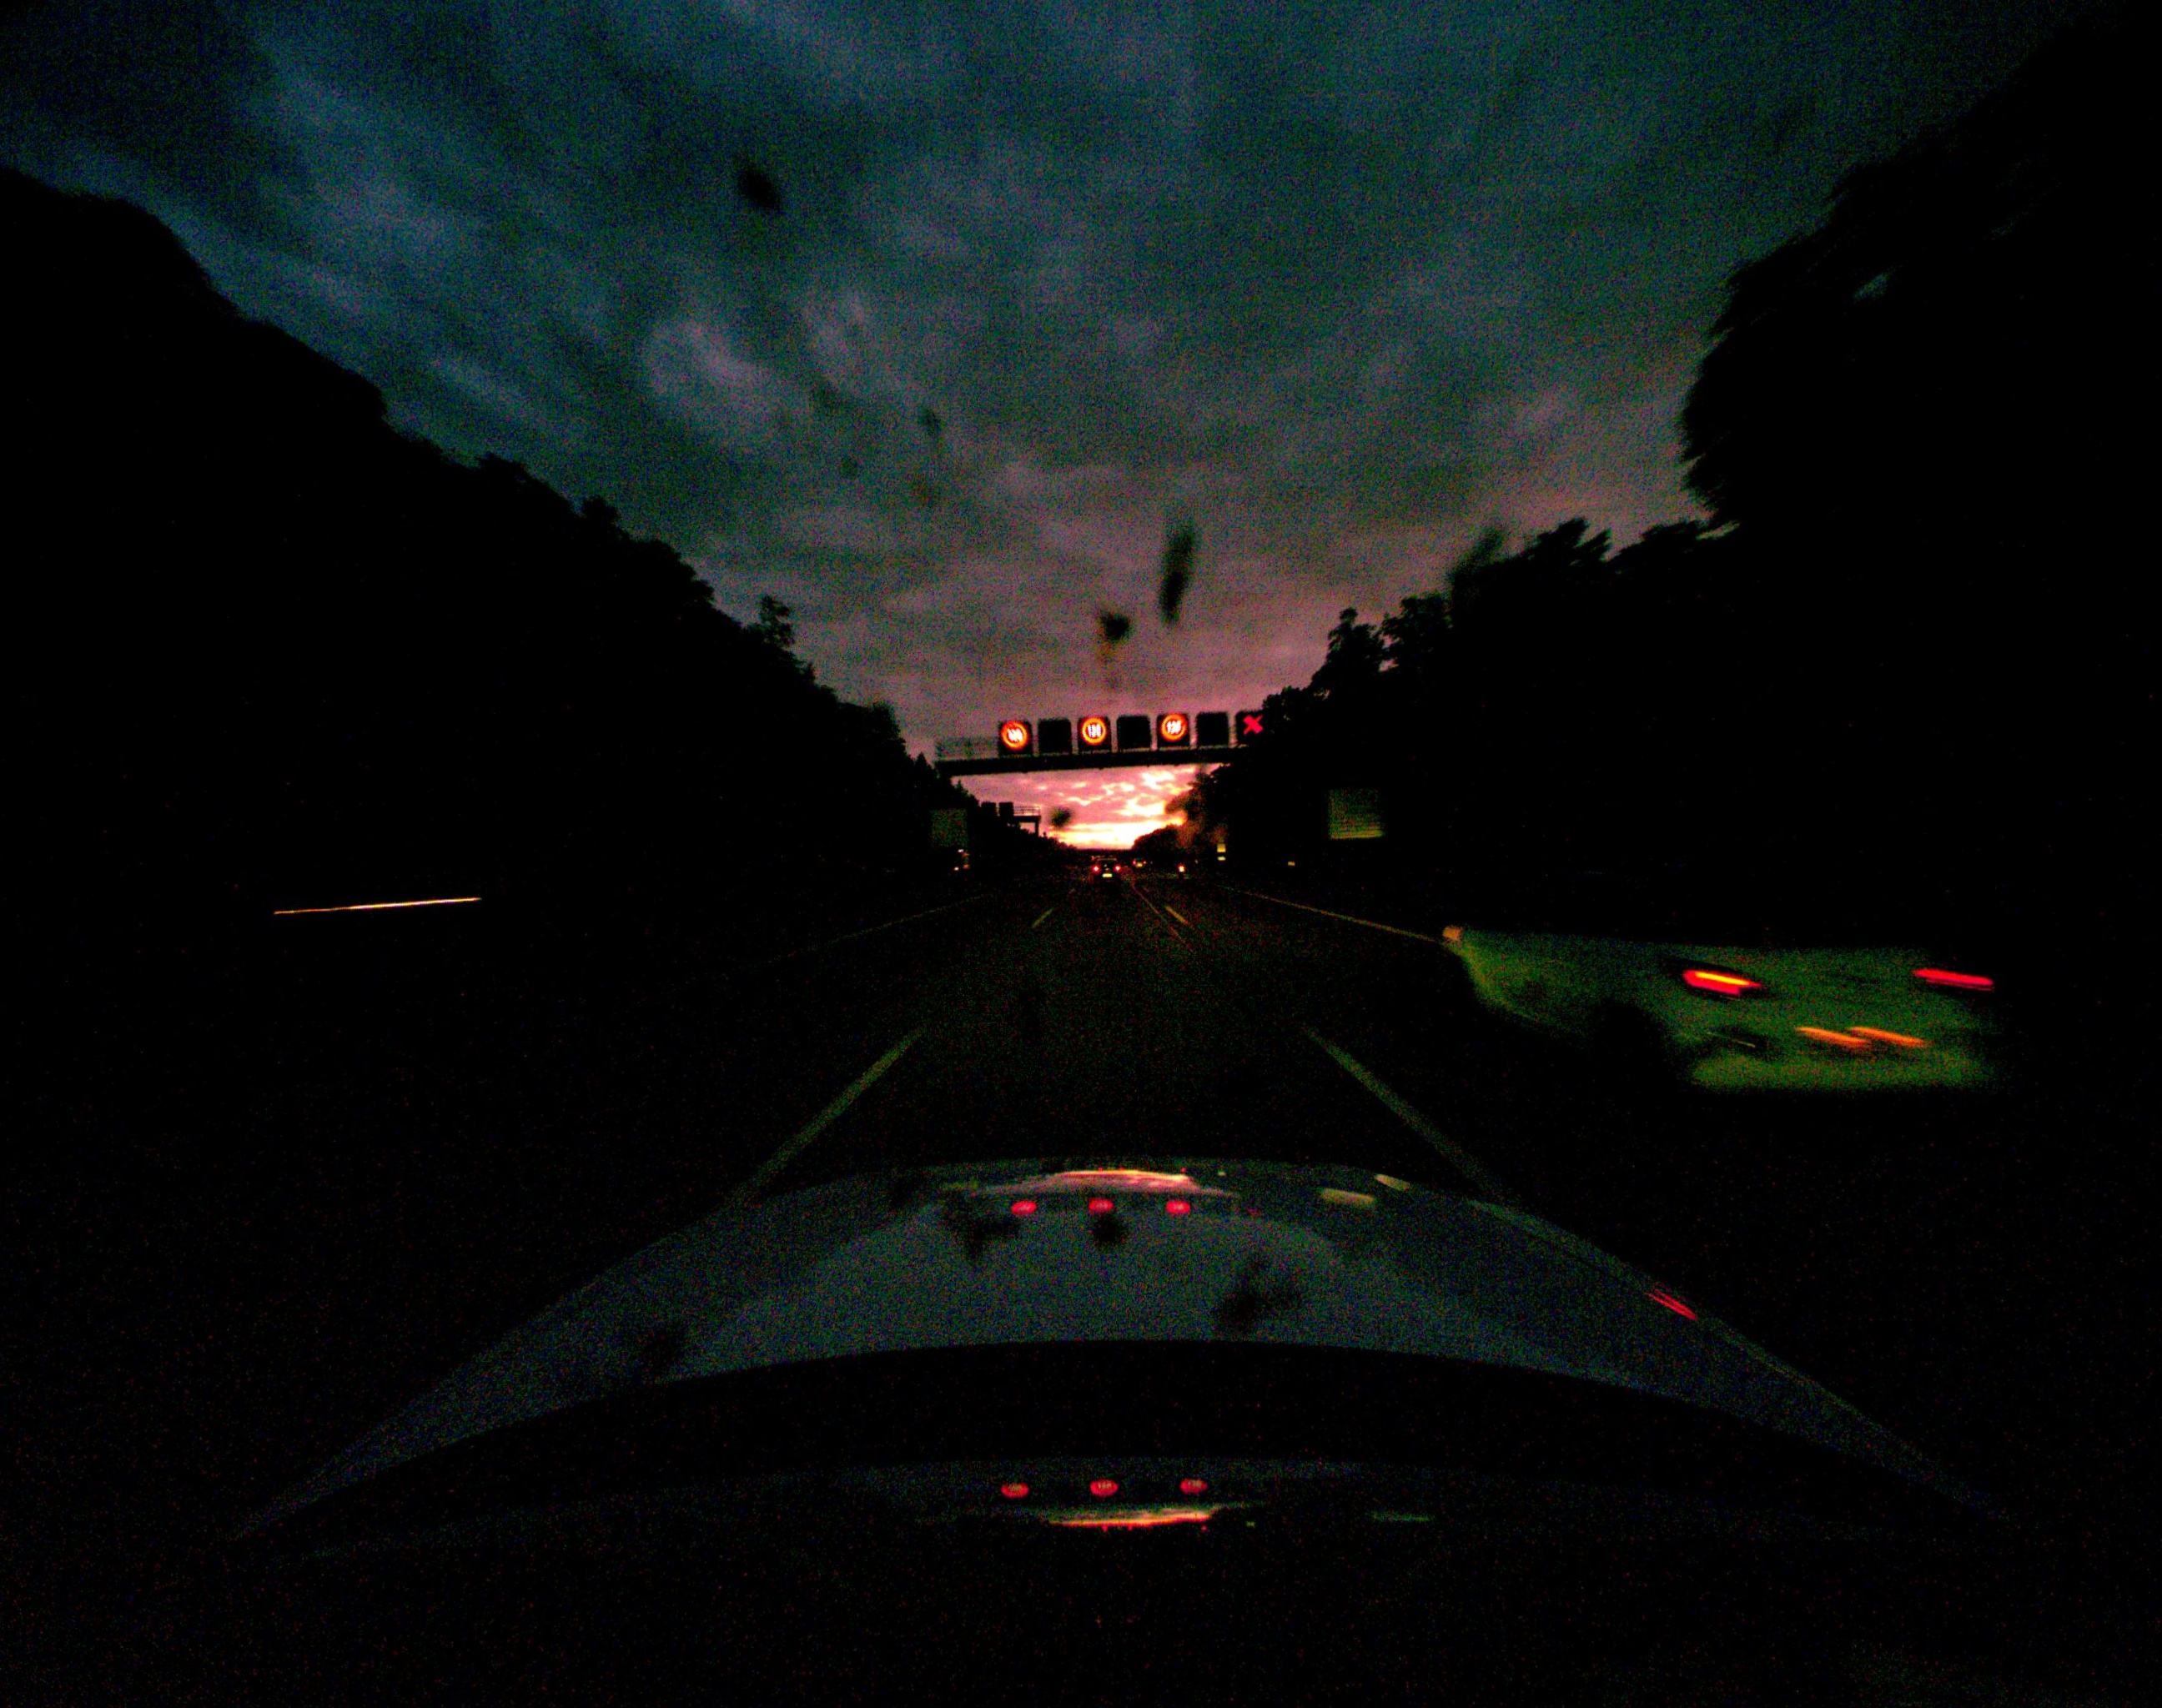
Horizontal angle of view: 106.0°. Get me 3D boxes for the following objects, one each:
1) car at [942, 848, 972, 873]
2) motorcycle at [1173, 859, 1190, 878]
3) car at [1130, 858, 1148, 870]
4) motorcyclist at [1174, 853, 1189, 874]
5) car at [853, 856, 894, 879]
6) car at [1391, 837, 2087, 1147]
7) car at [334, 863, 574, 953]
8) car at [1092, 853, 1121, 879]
[{"bbox_3d":[-15.258,0.803,100.930,1.973,2.880,7.840,-2,0,3],"label":"car"},{"bbox_3d":[6.306,0.909,51.019,0.826,1.134,2.477,-2,0,2],"label":"motorcycle"},{"bbox_3d":[7.551,1.311,106.864,1.860,1.494,4.394,0,-1,-2],"label":"car"},{"bbox_3d":[6.295,0.587,50.954,0.826,1.291,1.190,-2,-1,2],"label":"motorcyclist"},{"bbox_3d":[-16.600,1.034,65.320,1.986,1.735,4.575,-1,0,2],"label":"car"},{"bbox_3d":[4.052,0.661,6.184,1.819,1.475,4.401,-1,0,2],"label":"car"},{"bbox_3d":[-14.070,1.118,18.722,1.729,1.715,4.716,-1,0,1],"label":"car"},{"bbox_3d":[1.540,0.750,49.238,1.697,1.509,4.234,0,-1,2],"label":"car"}]
